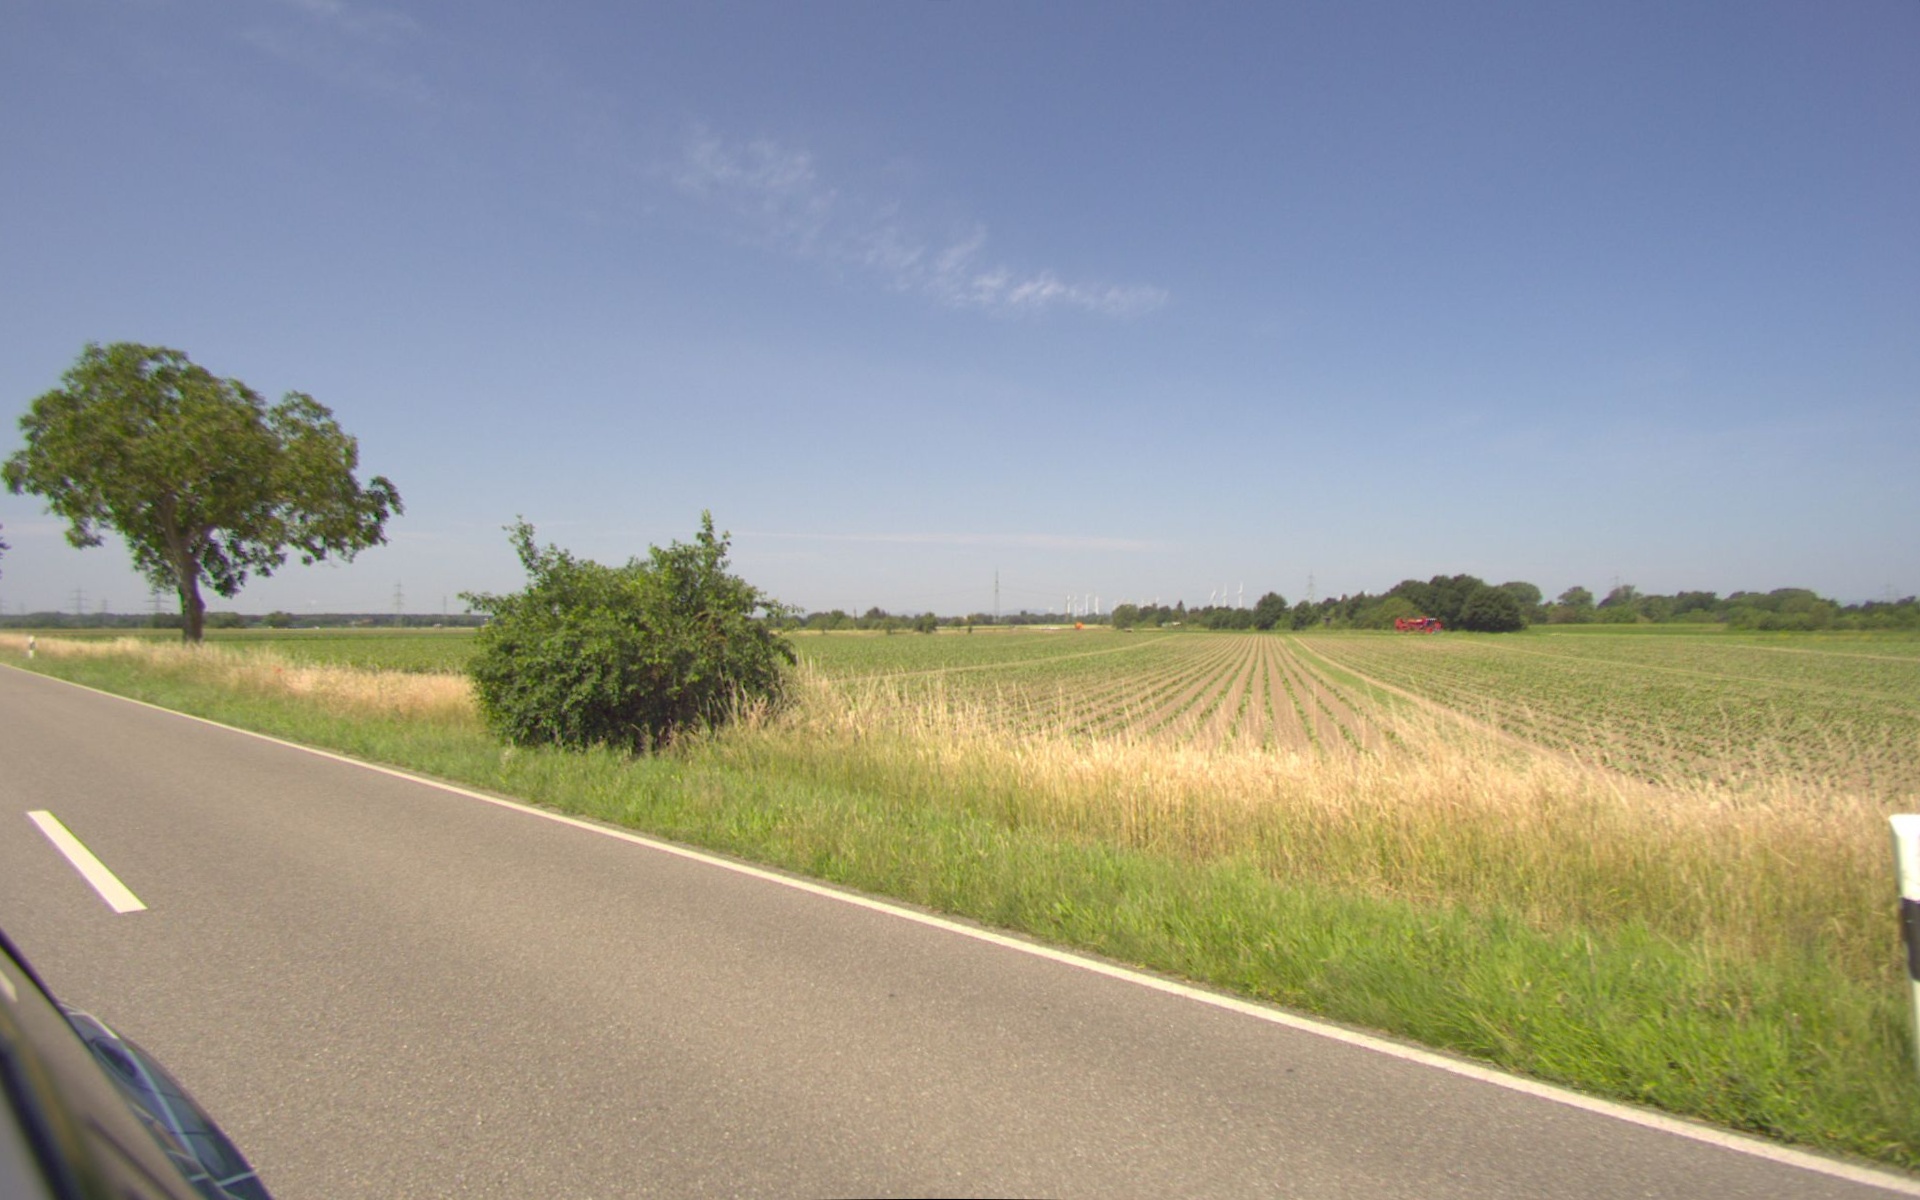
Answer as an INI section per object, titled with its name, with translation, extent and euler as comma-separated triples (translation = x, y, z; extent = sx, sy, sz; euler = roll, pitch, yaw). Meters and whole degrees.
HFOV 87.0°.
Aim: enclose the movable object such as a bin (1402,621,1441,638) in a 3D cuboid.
[movable object such as a bin]
translation = 105.668, 6.853, 231.905
extent = 2.504, 3.878, 10.006
euler = 1, -2, -15
